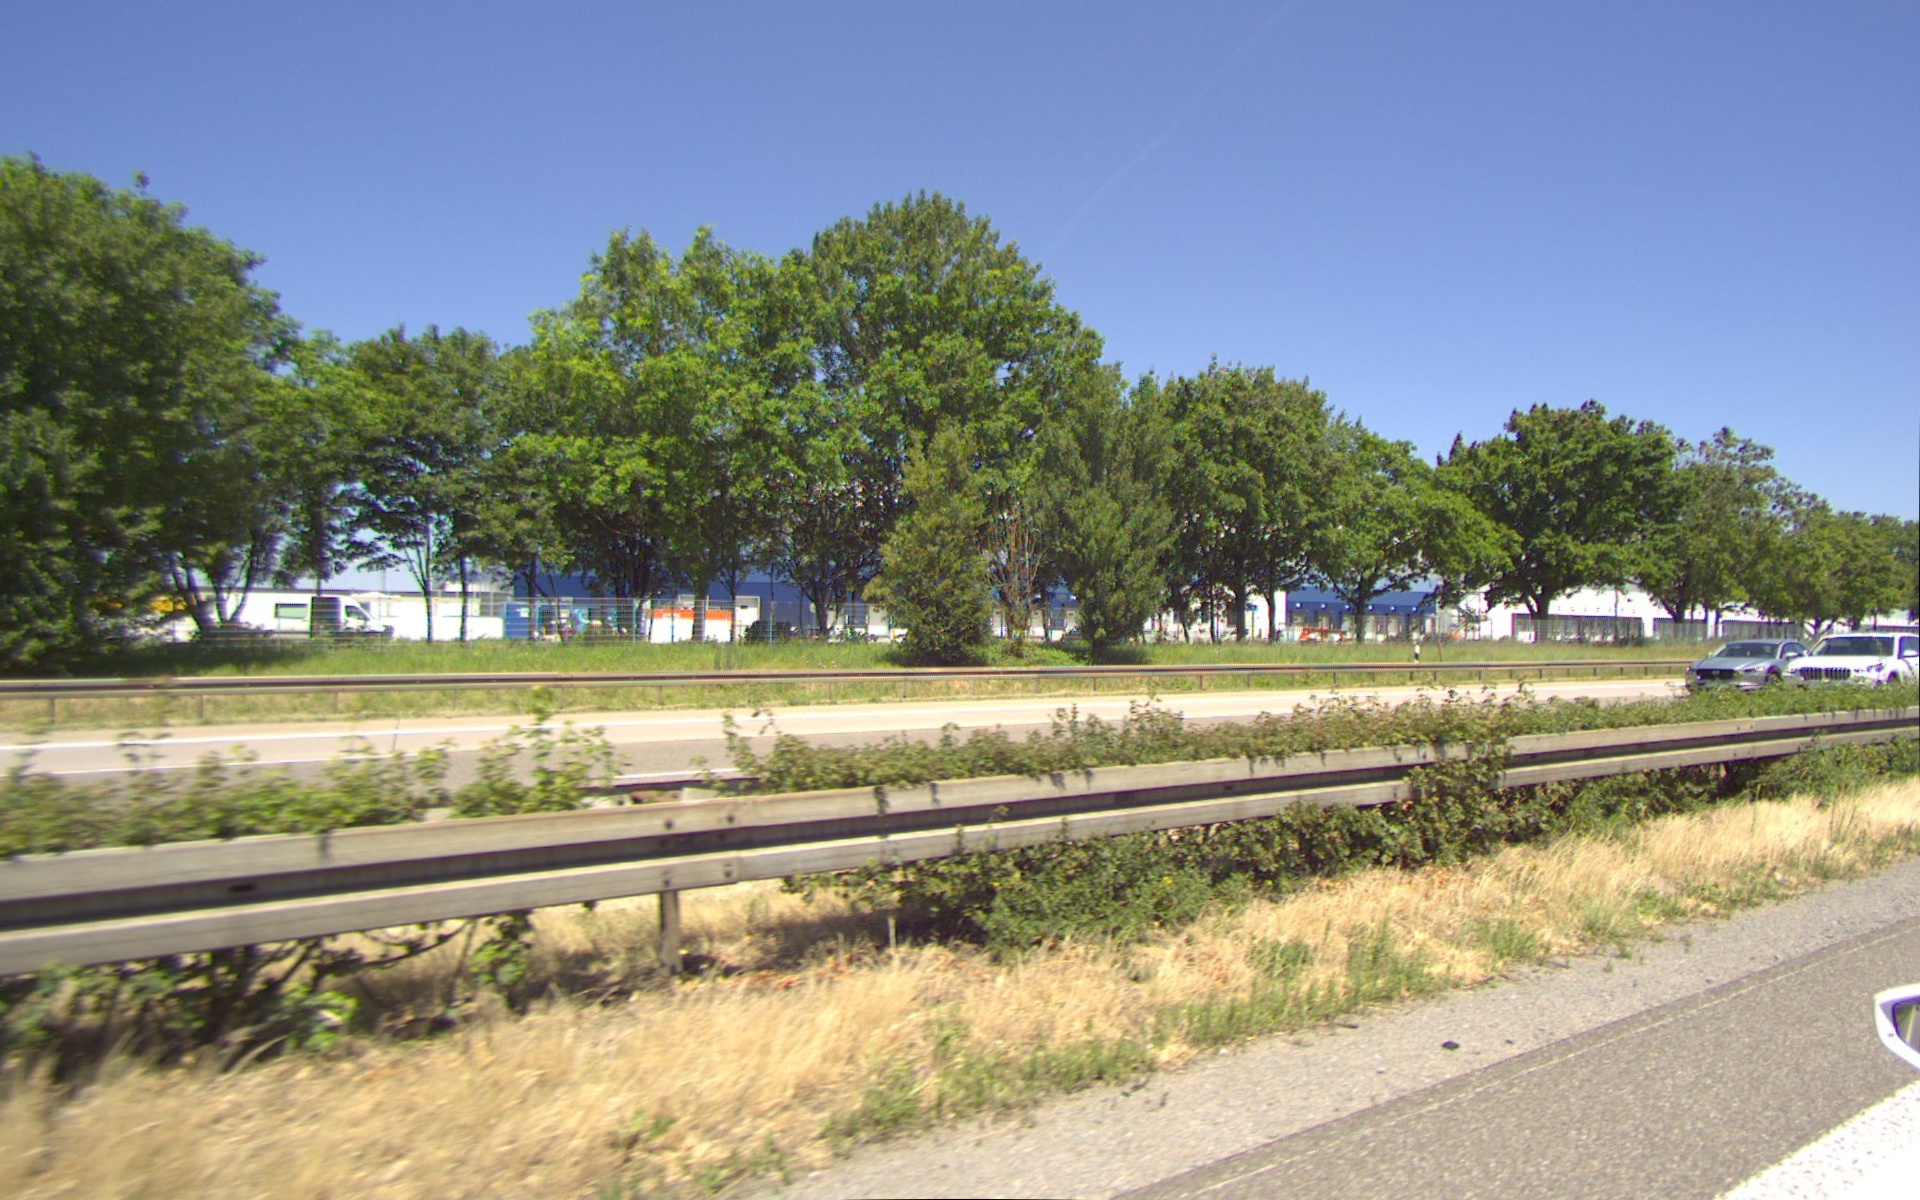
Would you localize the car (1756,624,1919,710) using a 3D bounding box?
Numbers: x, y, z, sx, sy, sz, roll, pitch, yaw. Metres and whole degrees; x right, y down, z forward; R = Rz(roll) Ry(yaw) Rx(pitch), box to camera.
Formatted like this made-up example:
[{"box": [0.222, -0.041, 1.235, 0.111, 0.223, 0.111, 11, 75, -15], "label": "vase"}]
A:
[{"box": [20.033, 1.433, 22.458, 4.519, 1.662, 1.984, 2, 1, -30], "label": "car"}]

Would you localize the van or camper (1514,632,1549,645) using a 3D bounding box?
[{"box": [78.648, 5.308, 138.145, 4.961, 1.674, 1.984, 2, -2, -30], "label": "van or camper"}]

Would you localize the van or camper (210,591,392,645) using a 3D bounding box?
[{"box": [-33.596, 0.991, 51.564, 7.640, 2.586, 2.344, 2, -2, -32], "label": "van or camper"}]

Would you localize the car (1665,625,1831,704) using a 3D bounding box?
[{"box": [20.421, 1.613, 25.992, 4.372, 1.818, 1.863, 2, 1, -30], "label": "car"}]
